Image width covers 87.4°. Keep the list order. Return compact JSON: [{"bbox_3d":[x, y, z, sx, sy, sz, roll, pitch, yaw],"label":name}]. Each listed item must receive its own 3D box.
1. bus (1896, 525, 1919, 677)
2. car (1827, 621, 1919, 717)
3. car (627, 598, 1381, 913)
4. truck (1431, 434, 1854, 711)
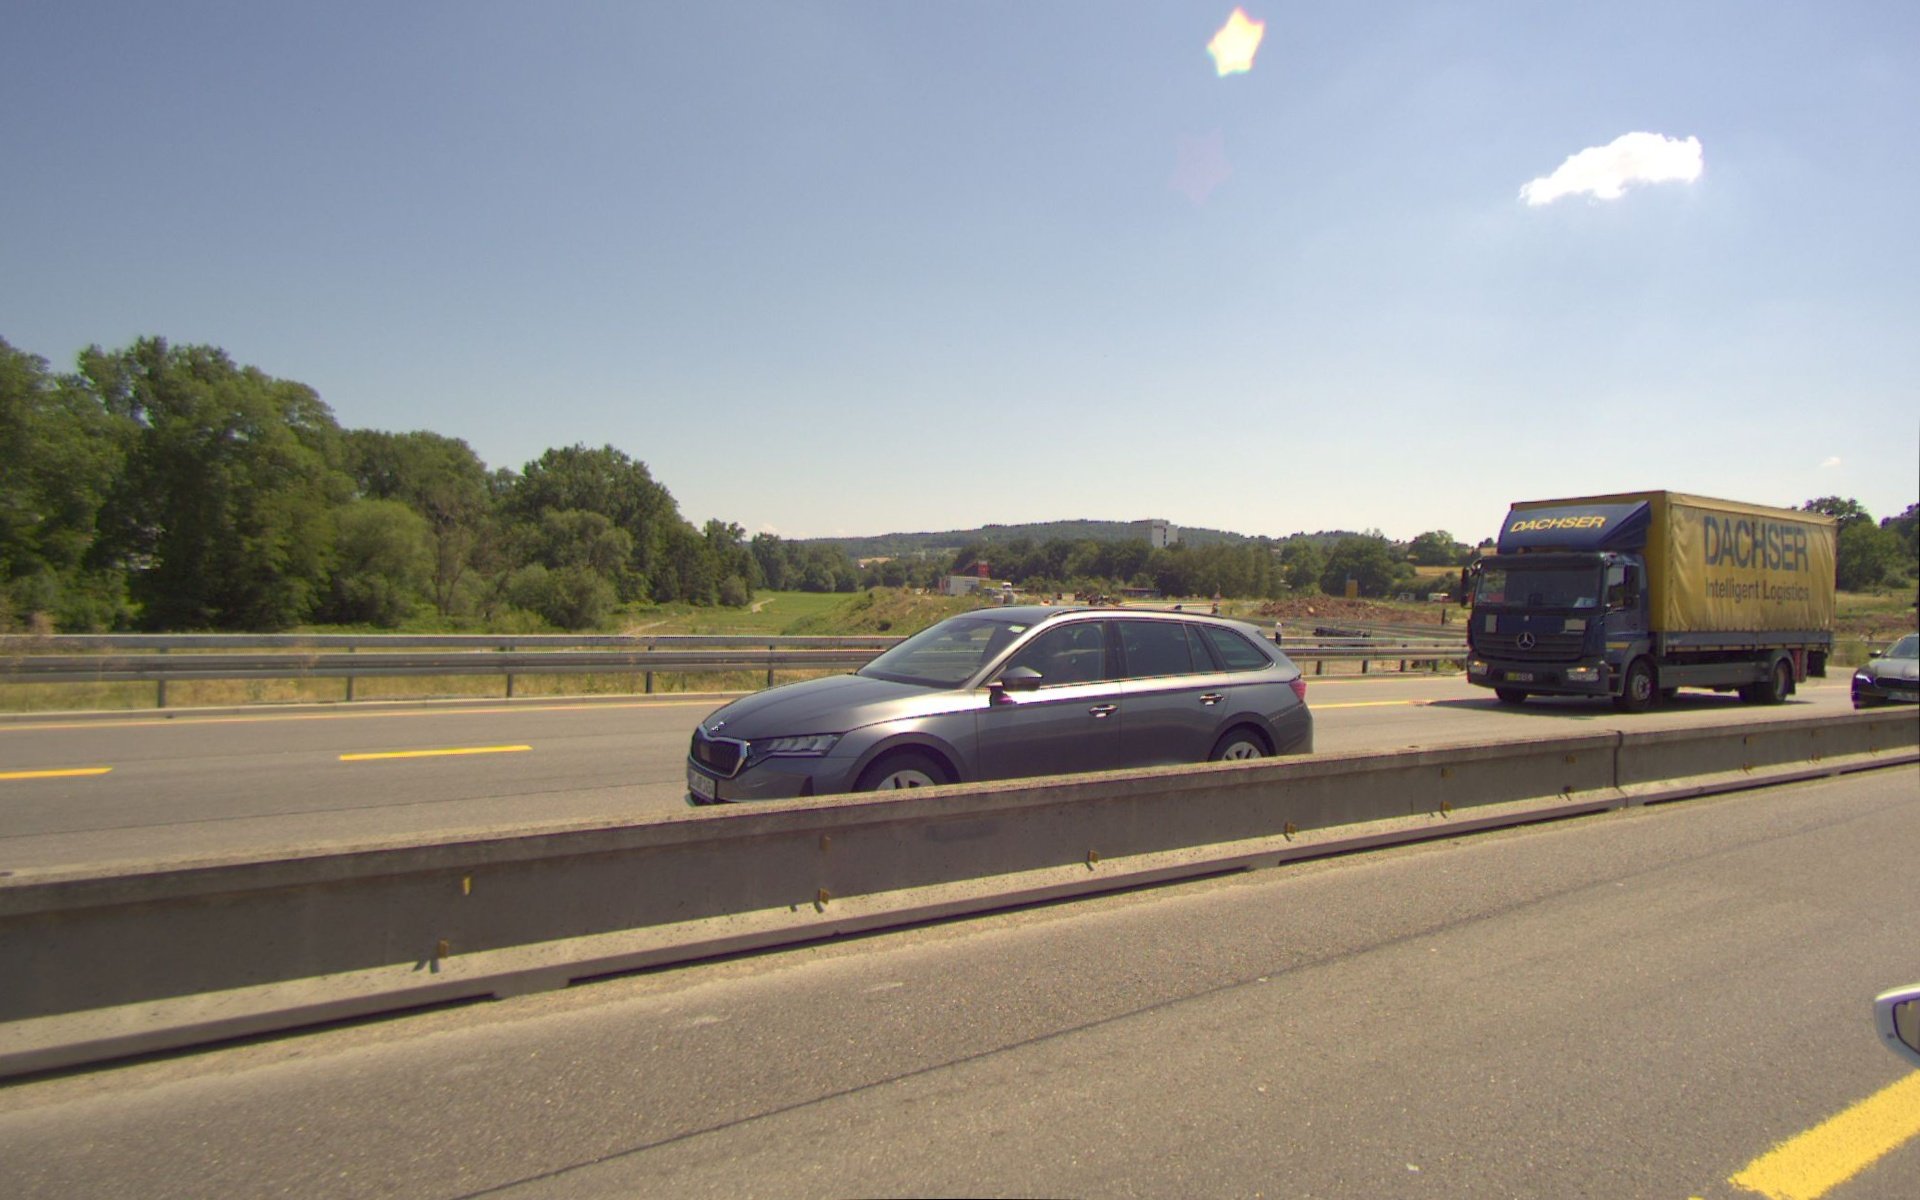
[{"bbox_3d":[33.917,0.230,31.762,14.316,4.320,2.724,2,0,-32],"label":"bus"},{"bbox_3d":[16.989,1.140,17.305,4.852,1.513,1.848,1,-2,-33],"label":"car"},{"bbox_3d":[0.504,0.744,6.970,5.067,1.451,1.872,0,2,-32],"label":"car"},{"bbox_3d":[13.253,-0.257,19.044,9.966,4.207,2.787,2,-1,-32],"label":"truck"}]
